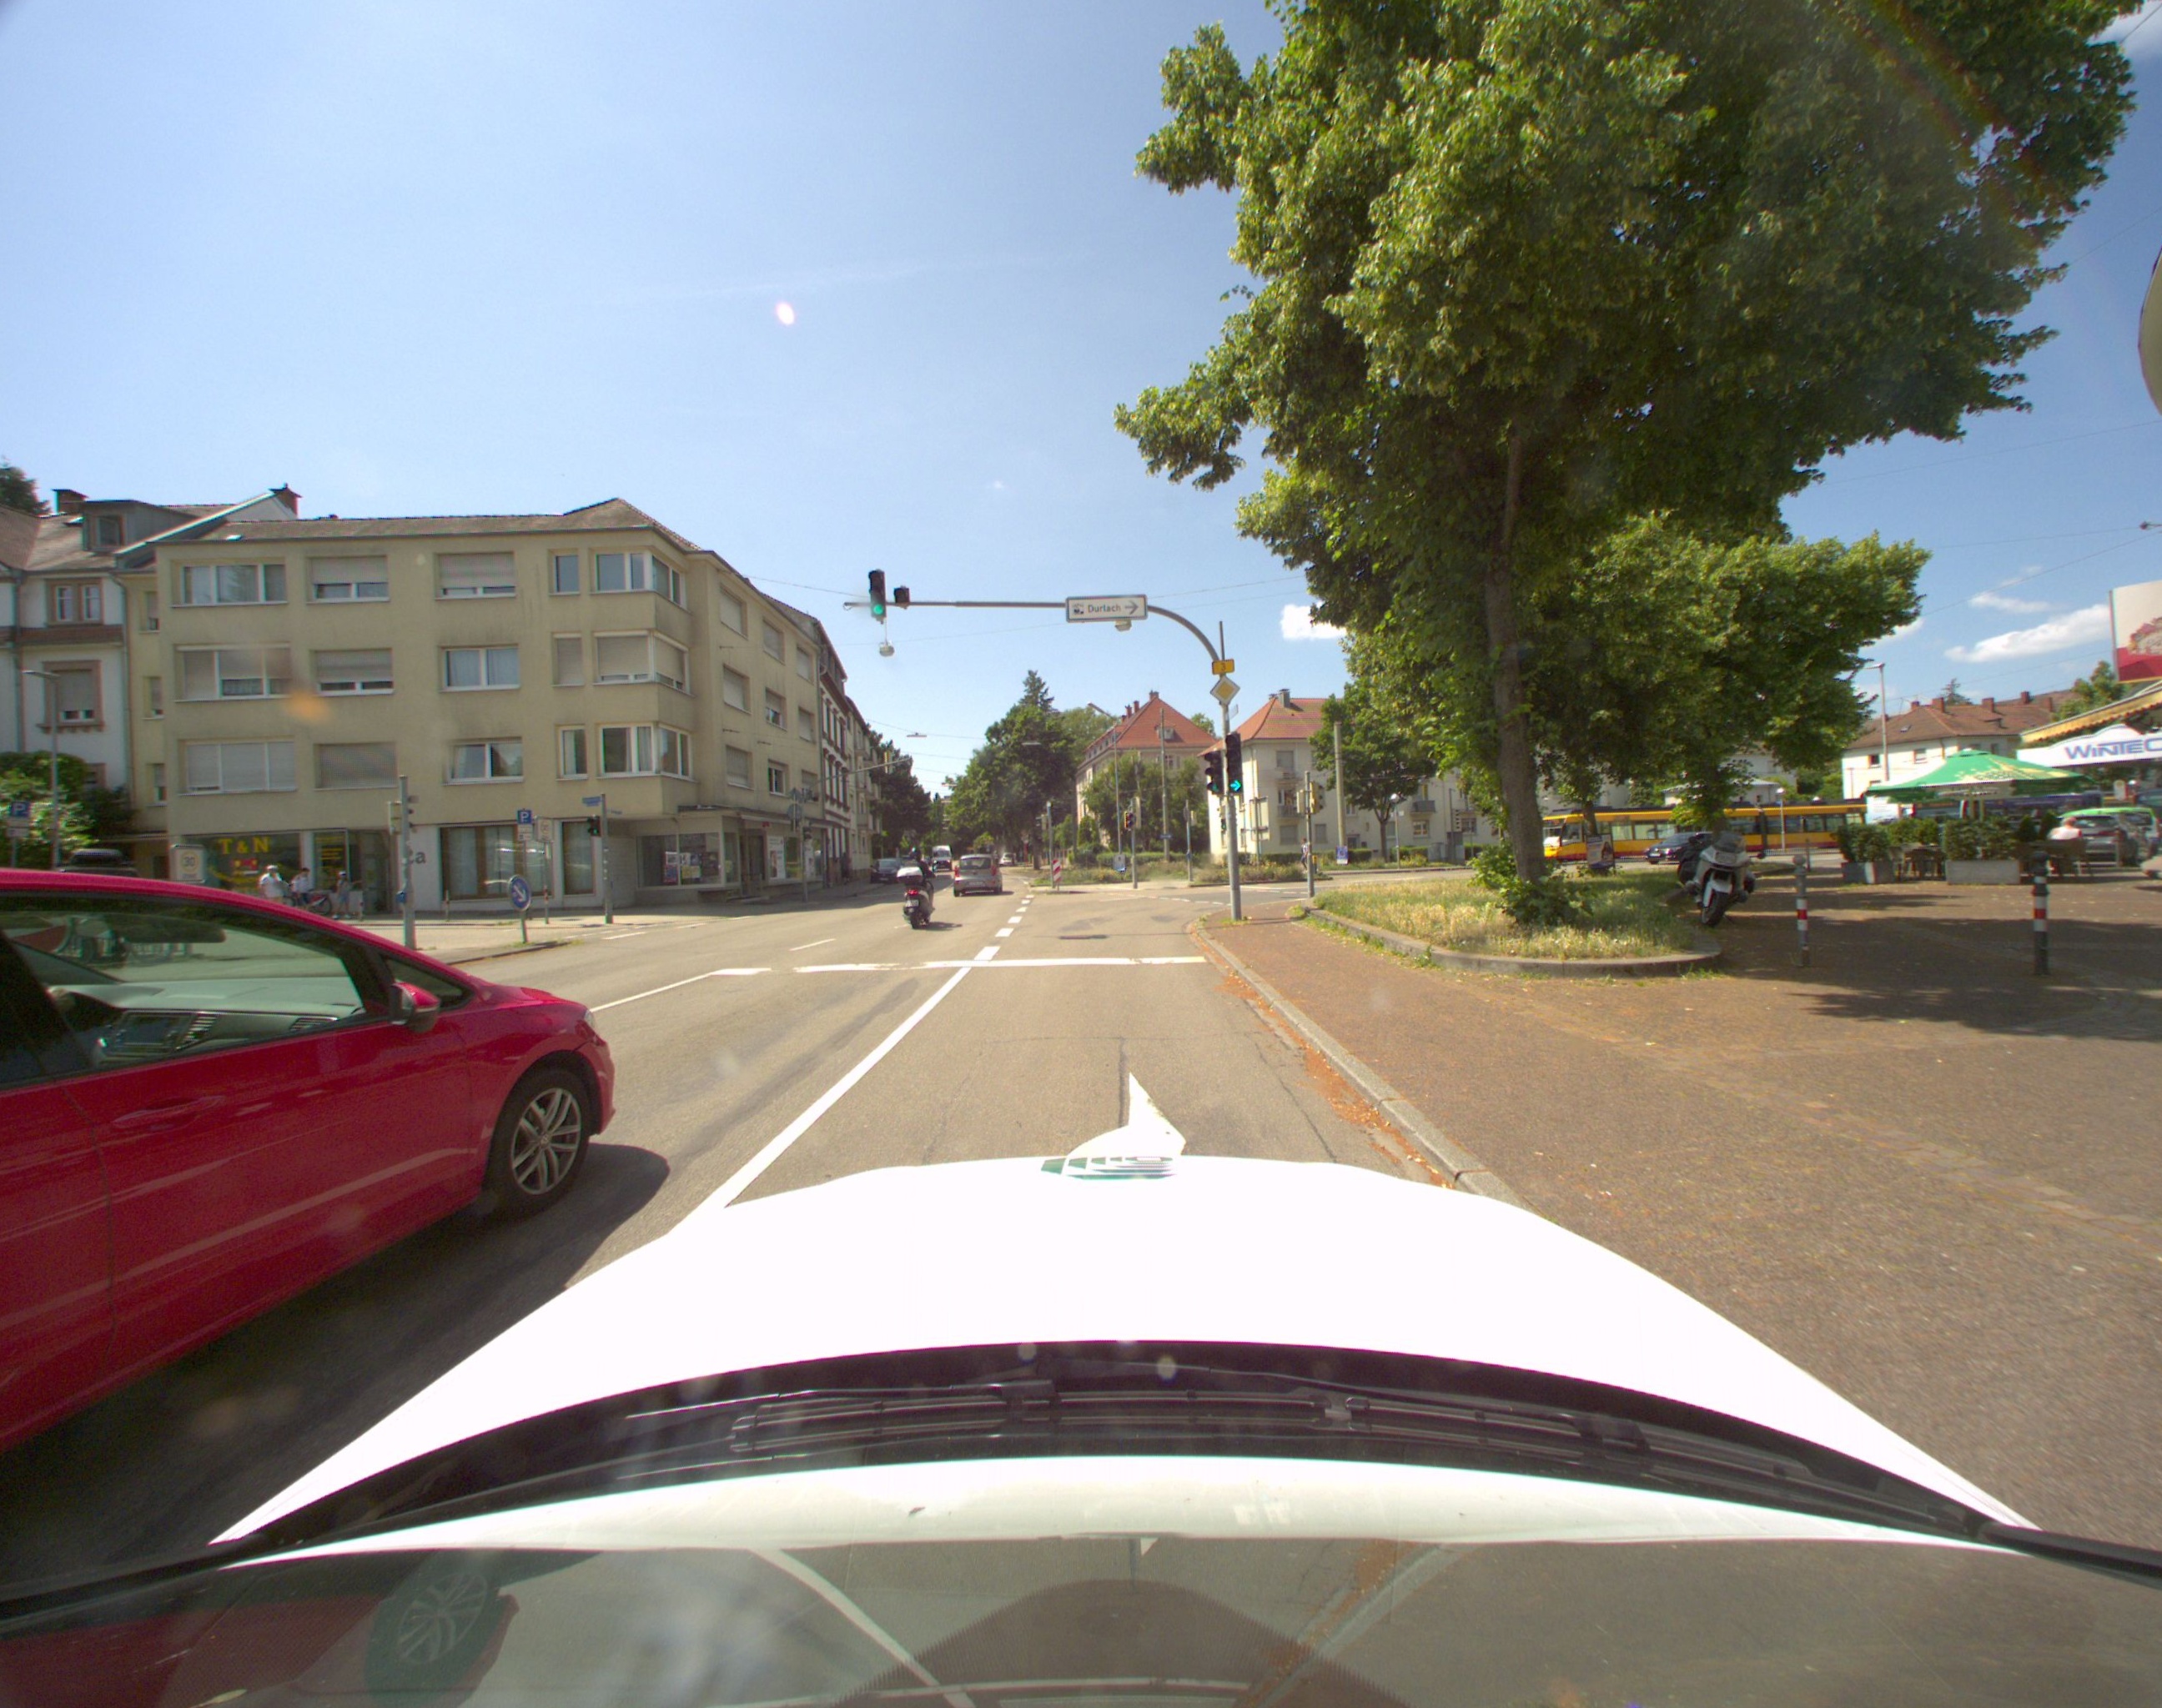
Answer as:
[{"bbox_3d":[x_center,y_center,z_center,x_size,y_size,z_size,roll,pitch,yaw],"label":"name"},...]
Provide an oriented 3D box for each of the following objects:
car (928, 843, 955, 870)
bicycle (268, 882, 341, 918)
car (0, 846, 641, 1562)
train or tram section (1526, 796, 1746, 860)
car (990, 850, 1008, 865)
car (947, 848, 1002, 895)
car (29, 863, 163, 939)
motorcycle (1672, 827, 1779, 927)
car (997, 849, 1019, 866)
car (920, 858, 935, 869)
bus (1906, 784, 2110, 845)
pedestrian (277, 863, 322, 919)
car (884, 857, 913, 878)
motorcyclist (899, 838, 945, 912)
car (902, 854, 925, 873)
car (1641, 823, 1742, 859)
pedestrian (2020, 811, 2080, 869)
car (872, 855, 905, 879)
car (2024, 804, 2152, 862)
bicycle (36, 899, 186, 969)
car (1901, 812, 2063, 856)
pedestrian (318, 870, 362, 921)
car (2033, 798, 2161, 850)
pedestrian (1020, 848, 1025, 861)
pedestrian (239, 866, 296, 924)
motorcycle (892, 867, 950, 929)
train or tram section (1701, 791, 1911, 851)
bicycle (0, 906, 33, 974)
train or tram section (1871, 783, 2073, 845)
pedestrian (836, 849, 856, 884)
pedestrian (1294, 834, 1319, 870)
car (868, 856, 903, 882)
[{"bbox_3d":[-14.377,0.253,84.386,2.215,2.501,7.533,-5,0,-8],"label":"car"},{"bbox_3d":[-24.355,1.431,25.555,1.732,1.026,0.498,-2,0,-1],"label":"bicycle"},{"bbox_3d":[-3.251,0.783,2.191,1.792,1.558,4.039,-1,0,2],"label":"car"},{"bbox_3d":[35.560,-1.691,52.104,14.152,3.568,2.805,-2,0,-14],"label":"train or tram section"},{"bbox_3d":[-10.521,0.456,104.145,1.994,1.906,3.985,-2,0,-11],"label":"car"},{"bbox_3d":[-3.882,0.613,30.274,1.796,1.557,4.030,-2,0,-5],"label":"car"},{"bbox_3d":[-25.168,1.149,20.830,4.273,1.664,2.013,-2,0,39],"label":"car"},{"bbox_3d":[9.279,0.286,11.827,0.906,1.313,2.239,-1,0,31],"label":"motorcycle"},{"bbox_3d":[-8.173,0.372,90.919,1.994,1.807,3.985,-2,0,-11],"label":"car"},{"bbox_3d":[-22.749,1.326,120.540,1.796,1.558,4.030,1,0,-5],"label":"car"},{"bbox_3d":[54.824,-2.361,48.128,11.985,3.129,2.726,-2,0,-14],"label":"bus"},{"bbox_3d":[-23.784,1.116,24.780,0.683,1.632,0.649,-2,0,2],"label":"pedestrian"},{"bbox_3d":[-14.275,1.015,63.892,1.995,1.510,3.984,-2,0,-11],"label":"car"},{"bbox_3d":[-3.276,0.417,16.847,0.708,1.445,1.019,-2,0,0],"label":"motorcyclist"},{"bbox_3d":[-16.452,0.918,80.147,1.797,1.717,4.027,1,0,-7],"label":"car"},{"bbox_3d":[28.865,-0.609,38.492,4.434,1.500,1.983,-2,0,-26],"label":"car"},{"bbox_3d":[22.530,-0.324,18.931,1.021,1.305,0.806,-2,0,-37],"label":"pedestrian"},{"bbox_3d":[-12.989,0.901,55.240,1.994,1.519,3.984,-1,-1,-11],"label":"car"},{"bbox_3d":[27.360,-0.555,22.099,4.379,1.428,1.690,-1,-1,-33],"label":"car"},{"bbox_3d":[-15.991,1.285,13.499,0.396,0.967,1.782,-2,0,-3],"label":"bicycle"},{"bbox_3d":[33.687,-0.704,30.651,1.884,1.439,4.183,-2,-1,9],"label":"car"},{"bbox_3d":[-22.449,1.243,24.685,0.683,1.475,0.649,-2,0,2],"label":"pedestrian"},{"bbox_3d":[39.199,-1.104,31.401,1.818,1.794,4.050,-3,-1,28],"label":"car"},{"bbox_3d":[-7.281,0.042,100.912,0.508,1.656,0.465,-1,0,-6],"label":"pedestrian"},{"bbox_3d":[-23.803,1.194,23.840,0.798,1.632,0.823,-2,0,2],"label":"pedestrian"},{"bbox_3d":[-3.263,0.864,16.786,0.708,1.134,2.197,-2,0,0],"label":"motorcycle"},{"bbox_3d":[49.525,-2.243,55.554,14.676,3.568,2.781,-2,0,-14],"label":"train or tram section"},{"bbox_3d":[-15.956,1.276,11.382,0.396,0.967,1.744,-2,0,-3],"label":"bicycle"},{"bbox_3d":[65.049,-2.940,59.420,15.520,3.895,2.781,-2,0,-14],"label":"train or tram section"},{"bbox_3d":[-13.100,0.698,45.399,0.935,1.931,0.973,-2,0,-11],"label":"pedestrian"},{"bbox_3d":[11.007,-0.092,39.762,0.840,1.705,0.756,-2,0,-26],"label":"pedestrian"},{"bbox_3d":[-12.071,0.931,50.482,1.995,1.519,3.983,-1,-1,-12],"label":"car"}]
